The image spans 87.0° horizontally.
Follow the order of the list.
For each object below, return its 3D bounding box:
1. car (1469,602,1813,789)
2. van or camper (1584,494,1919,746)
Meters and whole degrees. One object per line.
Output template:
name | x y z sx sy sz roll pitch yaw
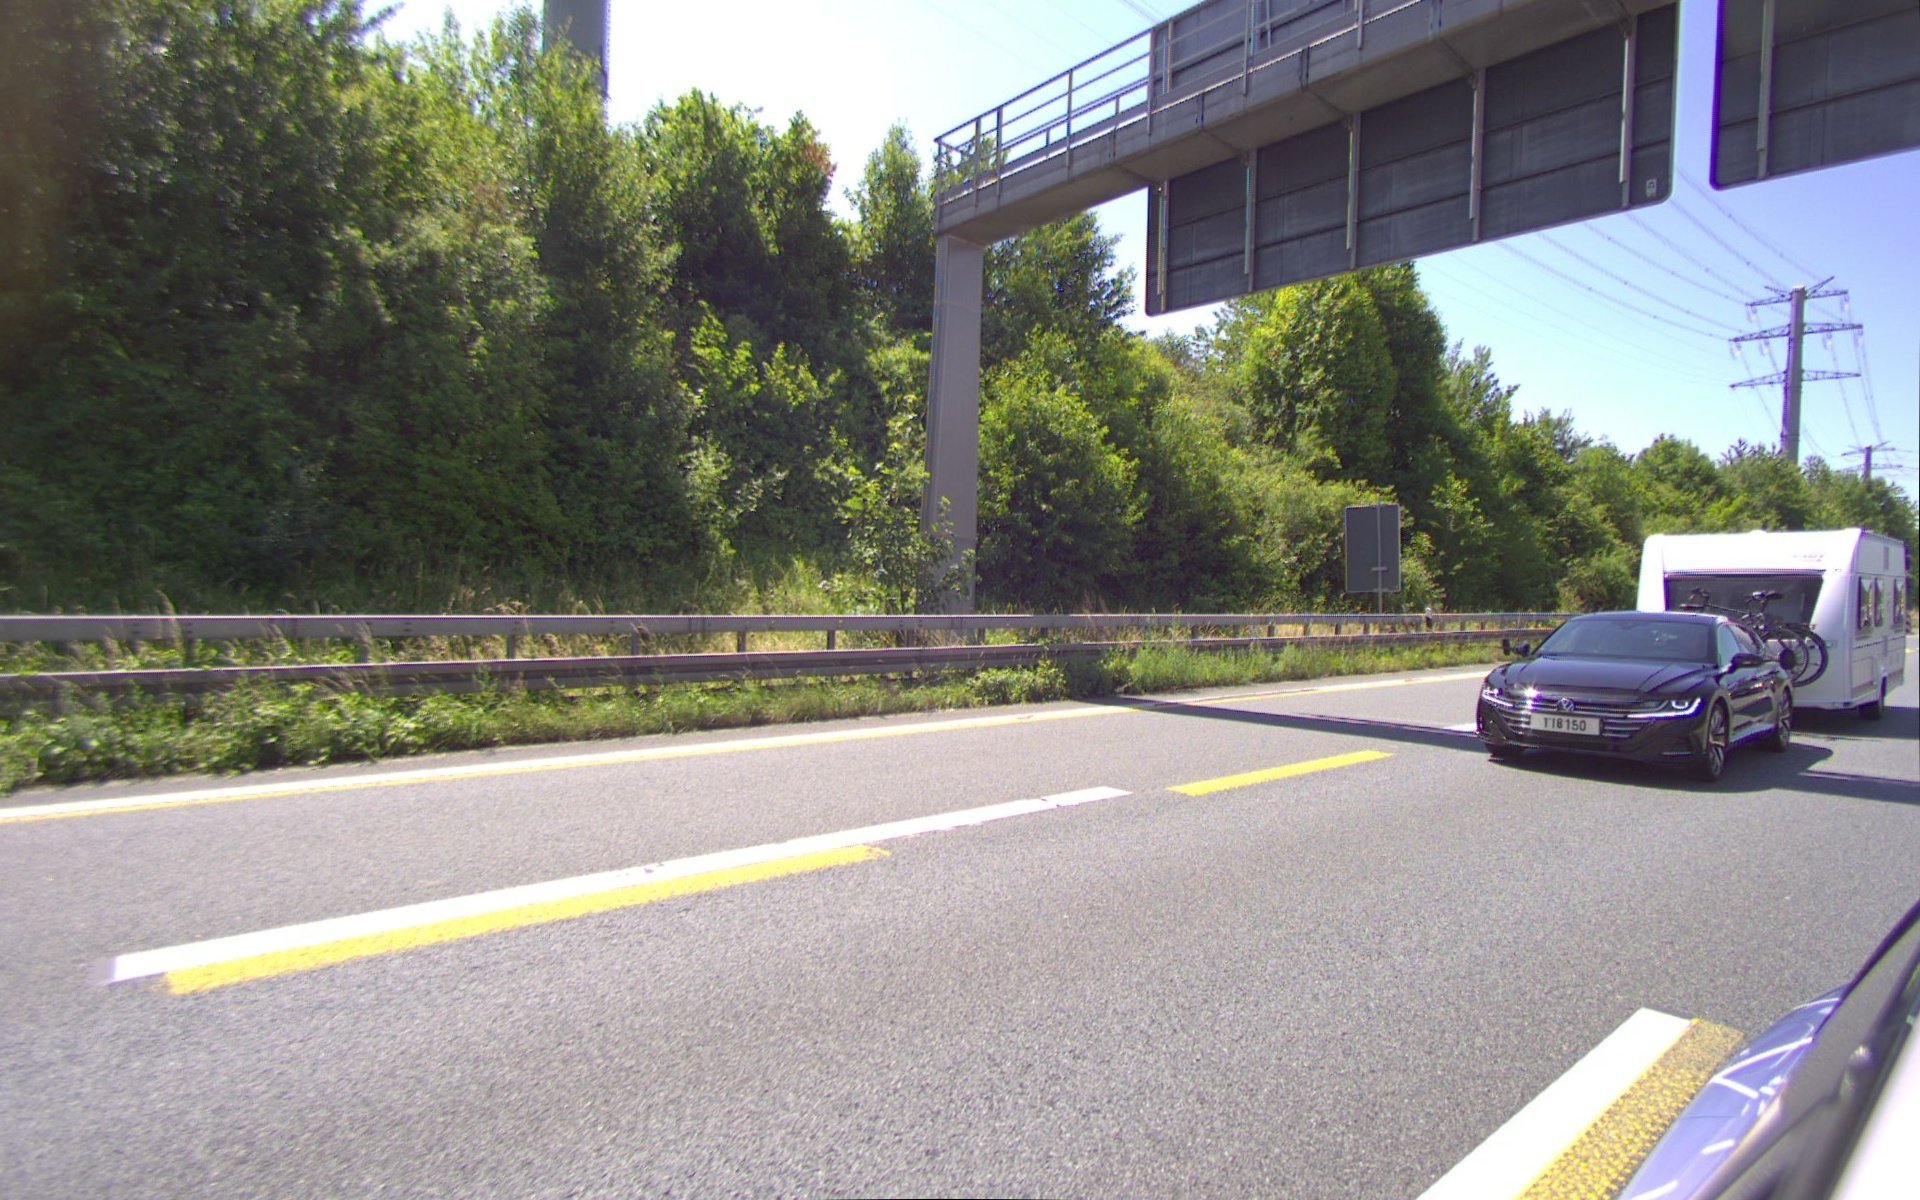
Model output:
car | 6.793 0.755 9.924 4.136 1.425 1.799 0 0 -41
van or camper | 11.473 0.202 14.078 8.270 2.597 2.430 0 0 -41
